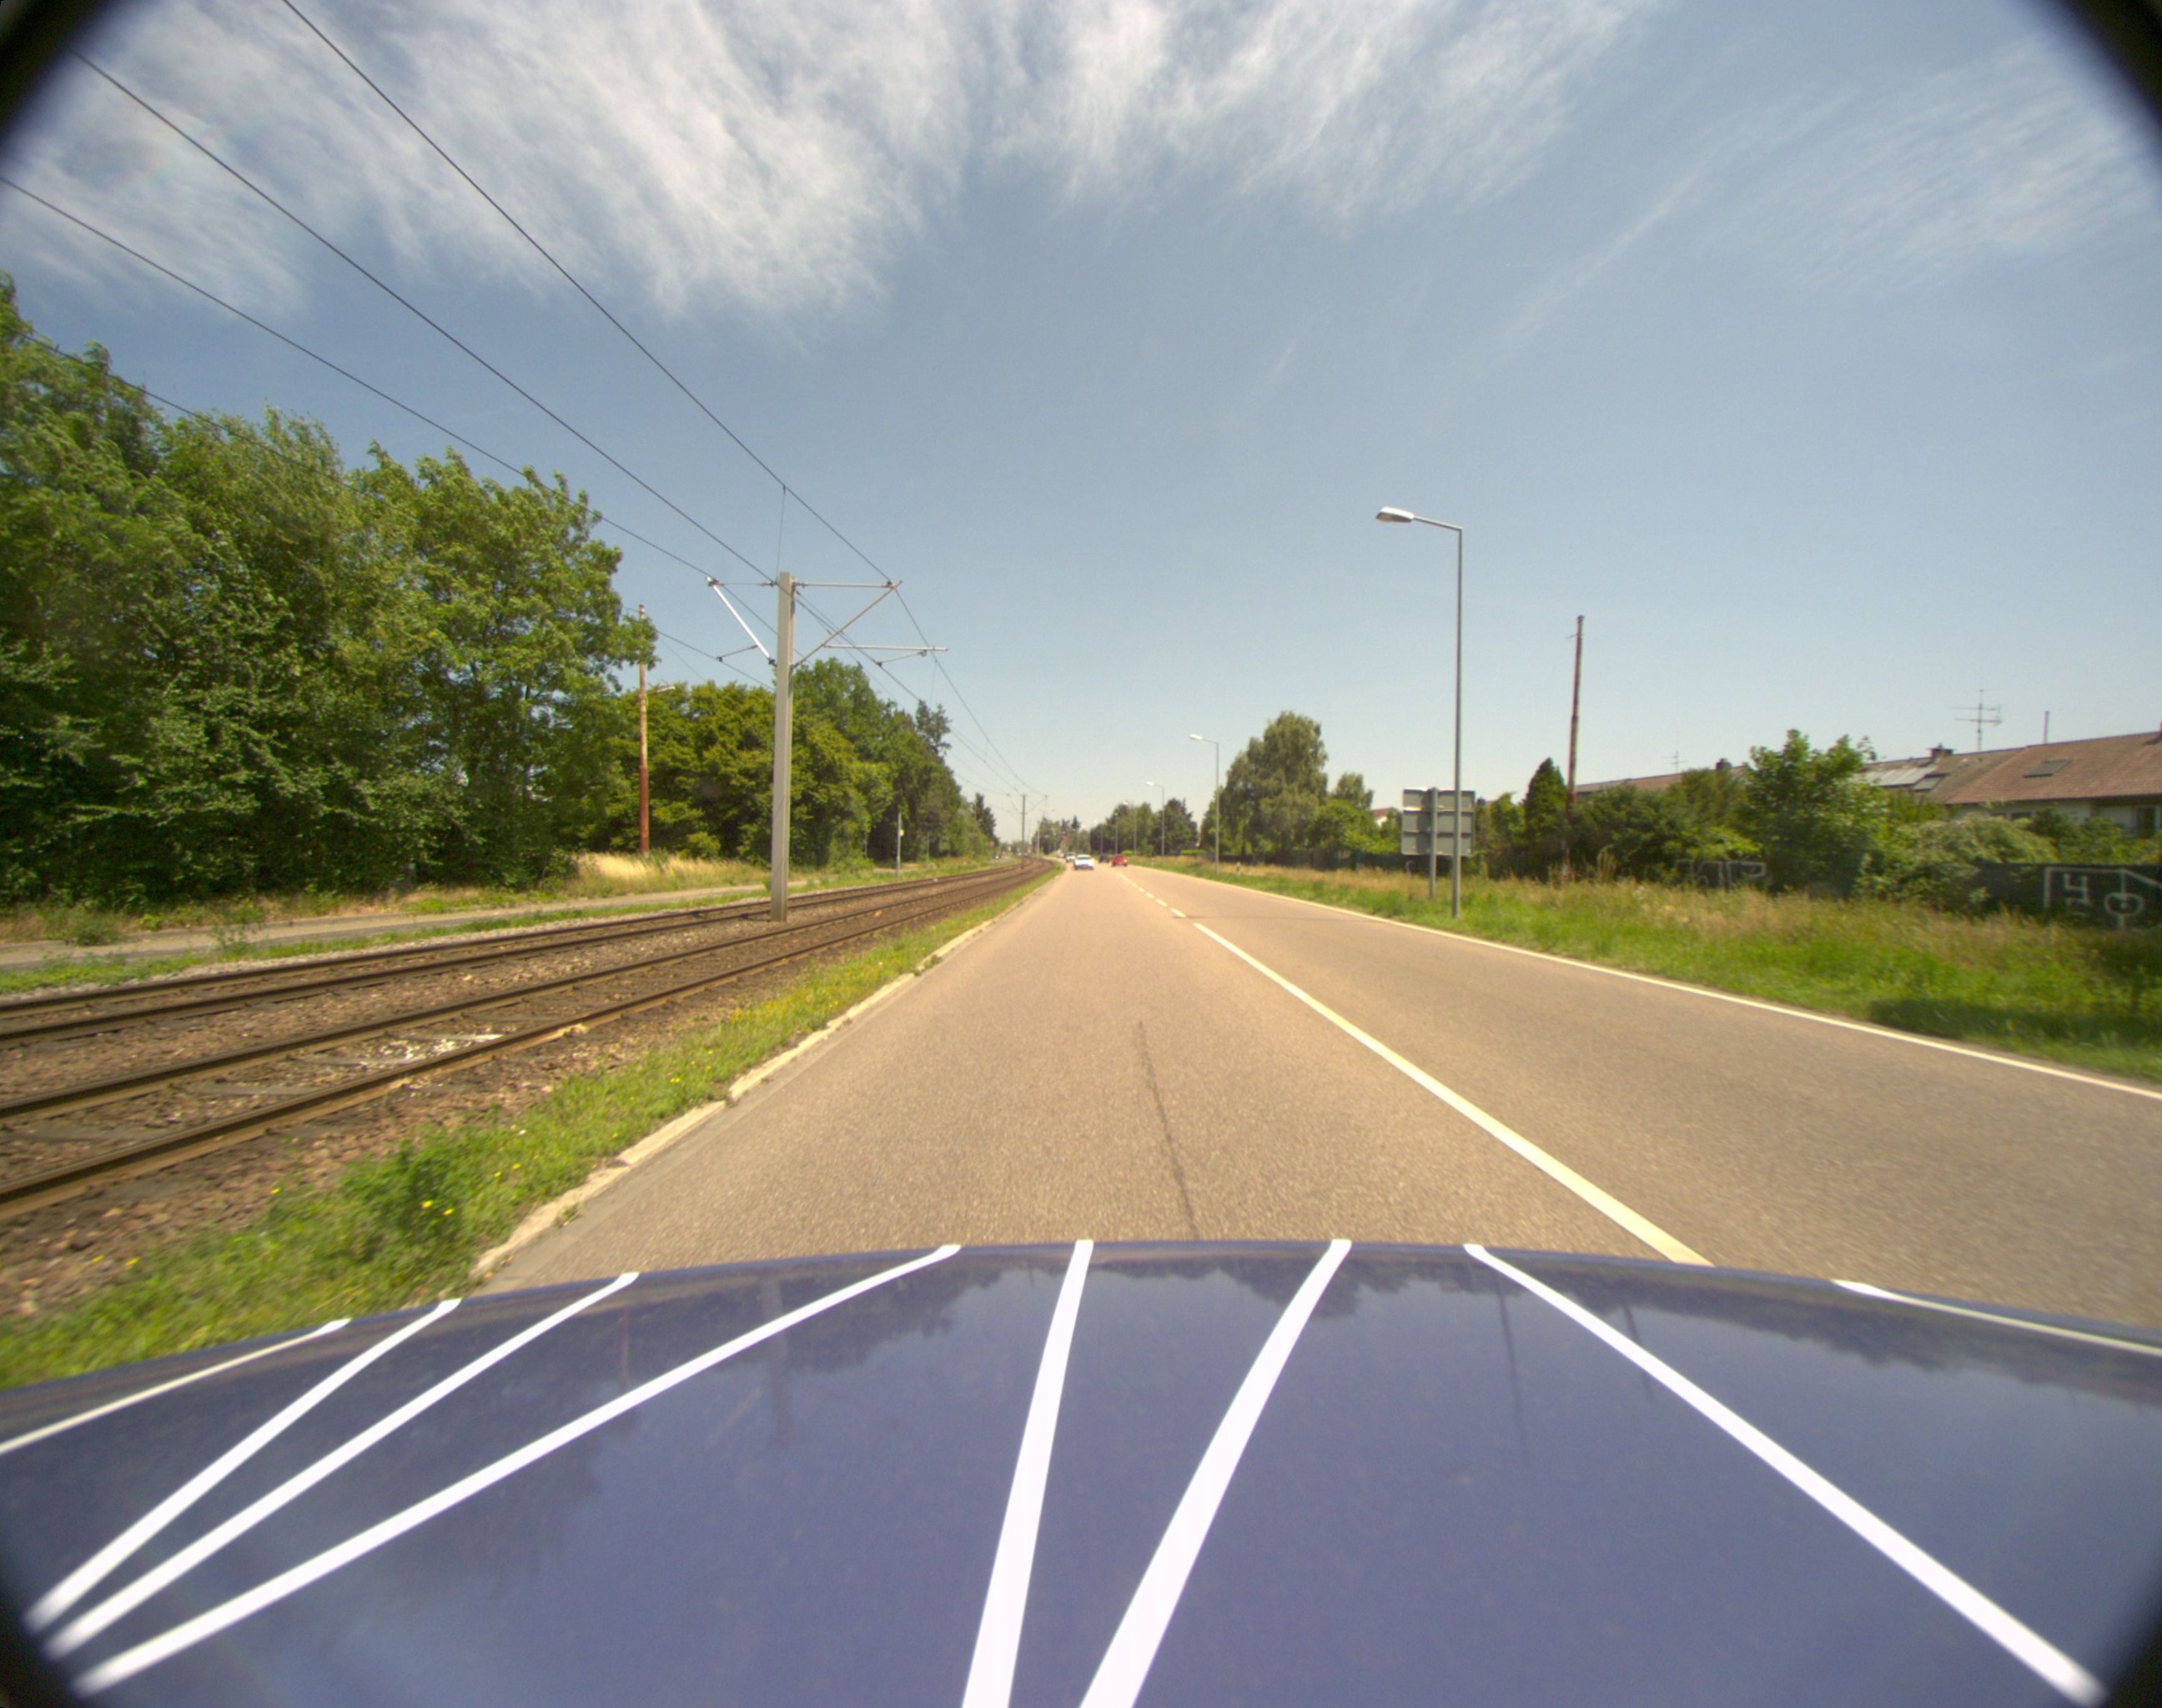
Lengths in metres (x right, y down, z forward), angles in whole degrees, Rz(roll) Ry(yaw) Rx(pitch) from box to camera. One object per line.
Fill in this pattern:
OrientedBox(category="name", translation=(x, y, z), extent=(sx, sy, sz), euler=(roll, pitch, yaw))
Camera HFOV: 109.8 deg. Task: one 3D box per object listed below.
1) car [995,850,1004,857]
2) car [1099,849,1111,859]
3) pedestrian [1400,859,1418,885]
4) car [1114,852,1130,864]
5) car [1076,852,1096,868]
OrientedBox(category="car", translation=(-21.017, -0.127, 196.265), extent=(1.999, 1.710, 3.998), euler=(-2, 1, -2))
OrientedBox(category="car", translation=(3.985, -0.047, 125.480), extent=(1.689, 1.561, 3.966), euler=(0, 0, -2))
OrientedBox(category="pedestrian", translation=(17.418, 0.930, 40.335), extent=(0.582, 1.347, 0.798), euler=(0, 1, 1))
OrientedBox(category="car", translation=(4.943, 0.434, 92.469), extent=(1.683, 1.391, 3.999), euler=(0, 0, -1))
OrientedBox(category="car", translation=(0.506, 0.582, 75.751), extent=(1.954, 1.467, 4.362), euler=(1, 0, 1))
